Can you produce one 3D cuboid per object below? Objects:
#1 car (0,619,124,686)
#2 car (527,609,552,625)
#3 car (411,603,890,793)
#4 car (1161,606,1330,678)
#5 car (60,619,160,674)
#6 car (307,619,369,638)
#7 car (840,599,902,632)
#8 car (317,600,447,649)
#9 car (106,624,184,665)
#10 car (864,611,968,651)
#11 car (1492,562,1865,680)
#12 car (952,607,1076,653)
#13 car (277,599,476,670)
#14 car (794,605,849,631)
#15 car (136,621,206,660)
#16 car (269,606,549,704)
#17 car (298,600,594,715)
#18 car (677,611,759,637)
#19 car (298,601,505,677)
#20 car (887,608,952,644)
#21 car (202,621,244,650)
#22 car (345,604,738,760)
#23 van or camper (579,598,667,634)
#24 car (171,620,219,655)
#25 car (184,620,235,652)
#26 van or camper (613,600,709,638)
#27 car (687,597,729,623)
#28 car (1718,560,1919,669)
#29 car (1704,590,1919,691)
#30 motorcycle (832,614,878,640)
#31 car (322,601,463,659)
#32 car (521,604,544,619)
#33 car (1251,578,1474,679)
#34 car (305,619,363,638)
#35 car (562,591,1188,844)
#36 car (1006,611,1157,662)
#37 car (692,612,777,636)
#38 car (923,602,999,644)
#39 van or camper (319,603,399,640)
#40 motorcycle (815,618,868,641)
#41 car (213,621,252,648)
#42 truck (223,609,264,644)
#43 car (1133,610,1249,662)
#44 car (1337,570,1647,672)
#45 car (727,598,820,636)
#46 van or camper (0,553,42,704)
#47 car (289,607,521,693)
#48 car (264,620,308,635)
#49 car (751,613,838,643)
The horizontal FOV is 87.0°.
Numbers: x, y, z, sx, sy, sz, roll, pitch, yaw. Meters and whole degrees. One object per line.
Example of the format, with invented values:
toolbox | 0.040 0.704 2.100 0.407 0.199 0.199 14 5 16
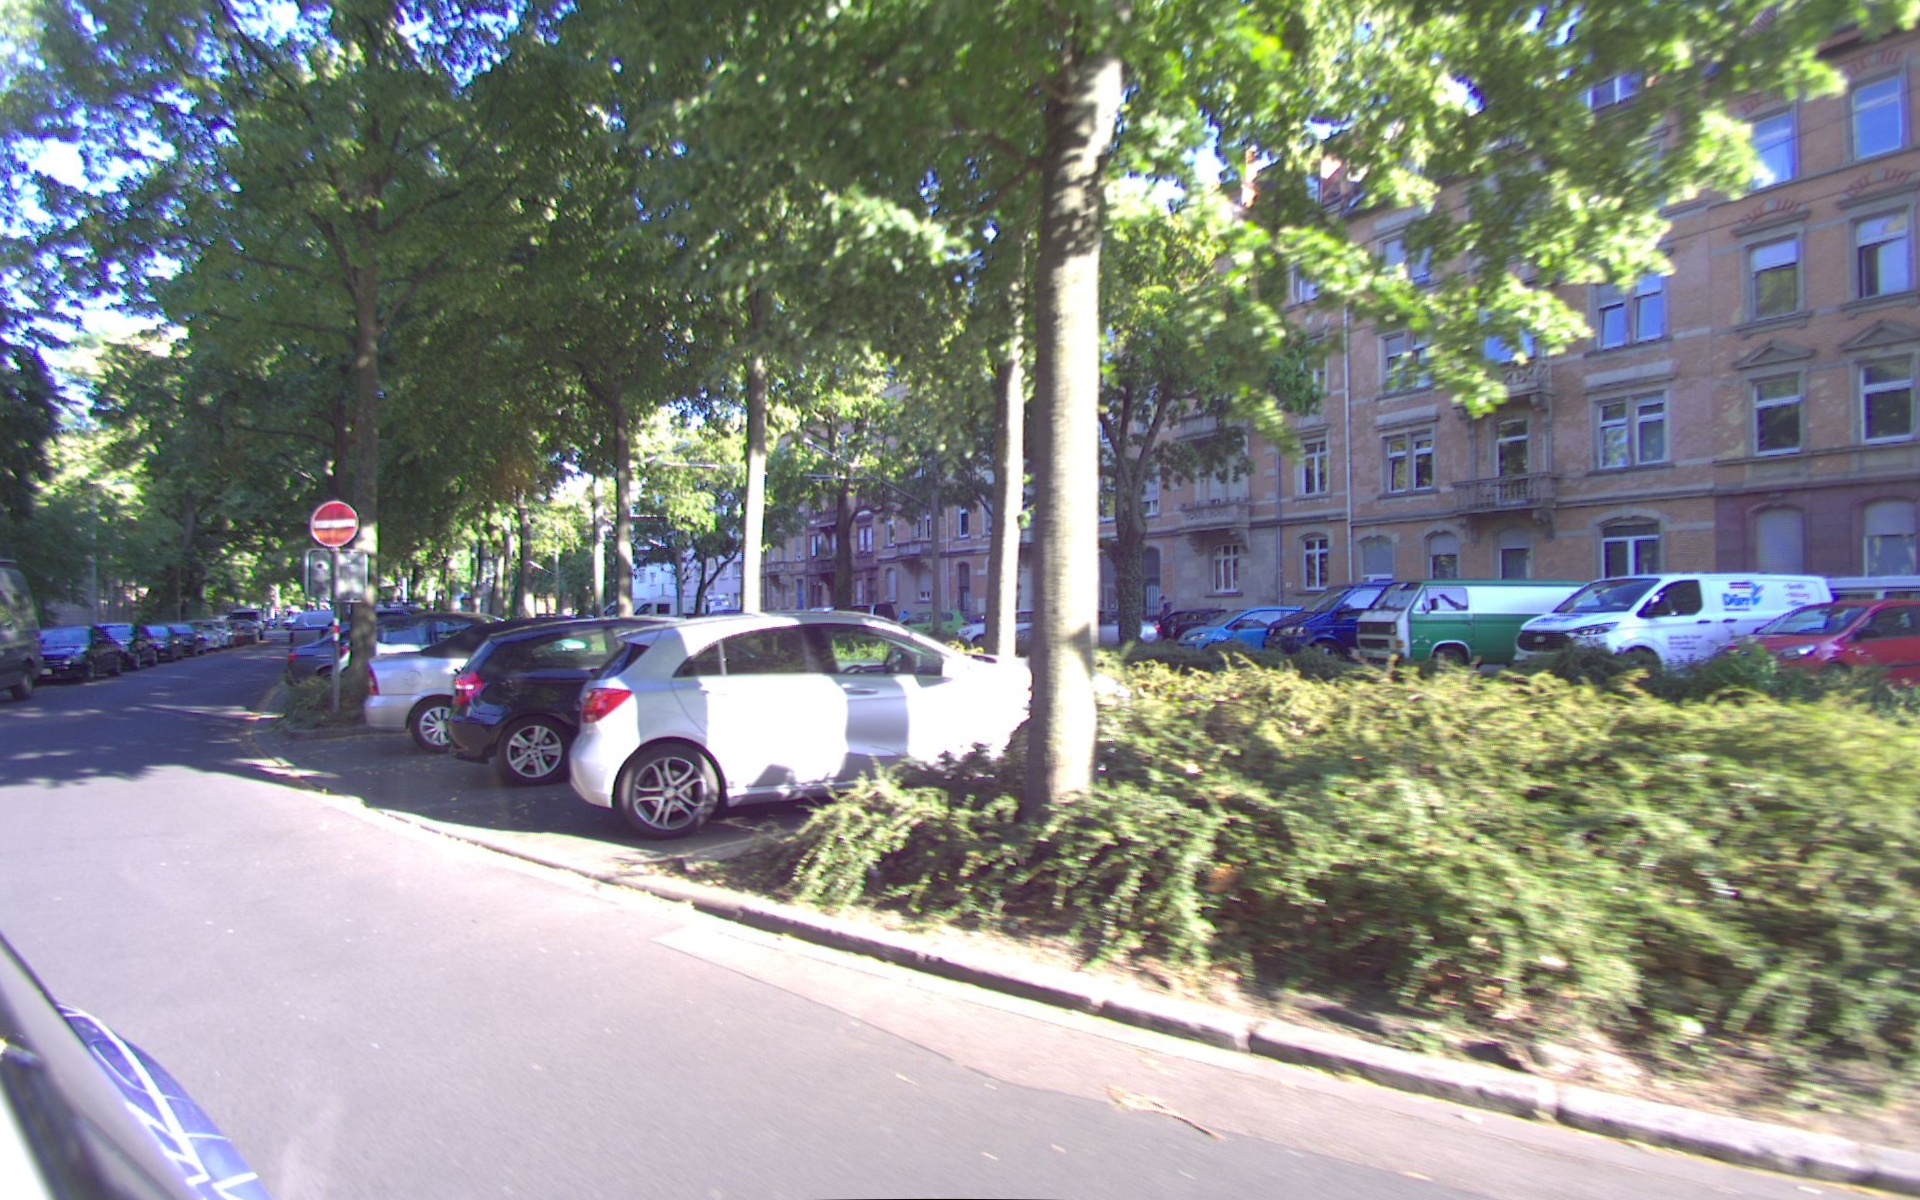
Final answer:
car | -23.041 1.283 26.024 1.657 1.537 4.503 -1 -1 -30
car | -53.477 2.161 128.679 1.967 2.029 4.009 0 -1 -36
car | -2.837 0.811 9.732 3.971 1.416 1.780 -2 1 -16
car | 6.897 0.997 24.719 3.598 1.652 1.661 0 -1 -2
car | -26.231 1.375 31.359 1.657 1.537 4.300 -1 -1 -30
car | -57.192 2.615 93.123 4.397 1.415 1.860 -3 0 -6
car | -5.171 0.899 58.583 1.825 1.796 4.035 2 -2 -33
car | -29.970 1.241 52.617 5.435 2.153 2.082 -3 1 -2
car | -28.694 1.532 35.738 1.657 1.293 4.299 -1 -1 -32
car | -1.647 1.106 37.071 3.681 1.391 1.710 -1 -1 -5
car | 11.824 0.326 16.819 4.977 1.778 2.089 -1 -1 -10
car | 1.675 0.941 32.353 3.680 1.391 1.730 -1 -1 -6
car | -18.066 1.039 31.535 4.928 1.794 1.989 -3 1 -3
car | -8.737 1.131 63.713 1.825 1.542 4.035 2 -2 -33
car | -31.747 1.584 40.845 1.657 1.435 4.672 -1 -1 -31
car | -10.096 0.965 18.830 4.136 1.449 1.834 -3 1 -6
car | -8.208 0.869 16.454 3.826 1.505 1.834 -3 1 -4
car | -13.201 1.298 55.353 4.127 1.320 1.637 -1 -1 -3
car | -14.632 0.992 26.707 4.294 1.638 1.943 -3 1 -3
car | -2.218 1.401 54.077 1.826 1.796 3.517 -3 0 -34
car | -39.783 1.872 54.687 1.569 1.465 3.565 -1 -1 -32
car | -4.697 0.855 11.885 3.918 1.375 1.780 -4 1 -15
van or camper | -23.648 1.138 71.186 5.588 2.487 2.003 0 -1 -7
car | -34.673 1.672 45.936 1.658 1.465 4.085 -1 -1 -36
car | -37.141 1.734 50.150 1.657 1.465 4.088 -1 -1 -32
van or camper | -18.791 1.208 63.875 5.468 2.389 2.309 0 -1 -4
car | -20.173 0.834 80.929 1.966 2.029 4.011 0 -1 -33
car | 18.975 0.275 20.819 1.827 2.079 5.013 -3 0 -34
car | 13.151 0.547 14.694 3.575 1.339 1.720 -1 -1 -8
motorcycle | -4.113 1.051 39.499 1.699 0.962 1.023 0 -1 -11
car | -20.673 1.088 36.944 4.109 1.794 1.881 -3 1 6
car | -56.689 1.531 134.061 1.967 2.029 4.009 0 -1 -36
car | 8.546 0.598 21.790 3.944 2.029 2.000 -1 -1 0
car | -59.006 2.686 95.462 4.245 1.415 1.748 -3 0 -10
car | -0.635 0.726 7.687 4.222 1.440 1.779 -2 1 -14
car | 3.519 1.056 29.835 4.228 1.391 1.594 -1 -1 0
car | -11.770 1.243 52.962 4.141 1.176 1.501 -1 -1 -4
car | 0.001 1.139 50.968 1.966 2.029 4.011 0 -1 -33
van or camper | -46.460 1.646 78.309 4.812 2.489 2.048 -3 1 -5
motorcycle | -4.762 1.178 40.811 1.952 0.895 1.019 -1 -1 5
car | -42.486 1.977 59.180 1.649 1.465 3.960 -1 -1 -33
truck | -52.885 1.915 74.832 2.265 2.404 6.952 -1 -1 -34
car | 8.428 1.283 37.231 1.769 1.789 4.010 0 -1 -34
car | 9.960 0.388 19.210 4.764 1.778 2.087 -1 -1 -4
car | -8.190 0.747 44.755 3.938 1.590 2.003 -1 -1 -6
van or camper | -18.510 0.538 18.004 2.055 2.783 5.863 -1 -1 -30
car | -11.516 0.994 21.229 3.813 1.449 1.834 -3 1 -6
car | -86.582 3.494 129.996 4.368 1.634 1.640 -4 2 -15
car | -7.787 1.296 47.506 3.934 1.327 1.597 0 -1 -11
